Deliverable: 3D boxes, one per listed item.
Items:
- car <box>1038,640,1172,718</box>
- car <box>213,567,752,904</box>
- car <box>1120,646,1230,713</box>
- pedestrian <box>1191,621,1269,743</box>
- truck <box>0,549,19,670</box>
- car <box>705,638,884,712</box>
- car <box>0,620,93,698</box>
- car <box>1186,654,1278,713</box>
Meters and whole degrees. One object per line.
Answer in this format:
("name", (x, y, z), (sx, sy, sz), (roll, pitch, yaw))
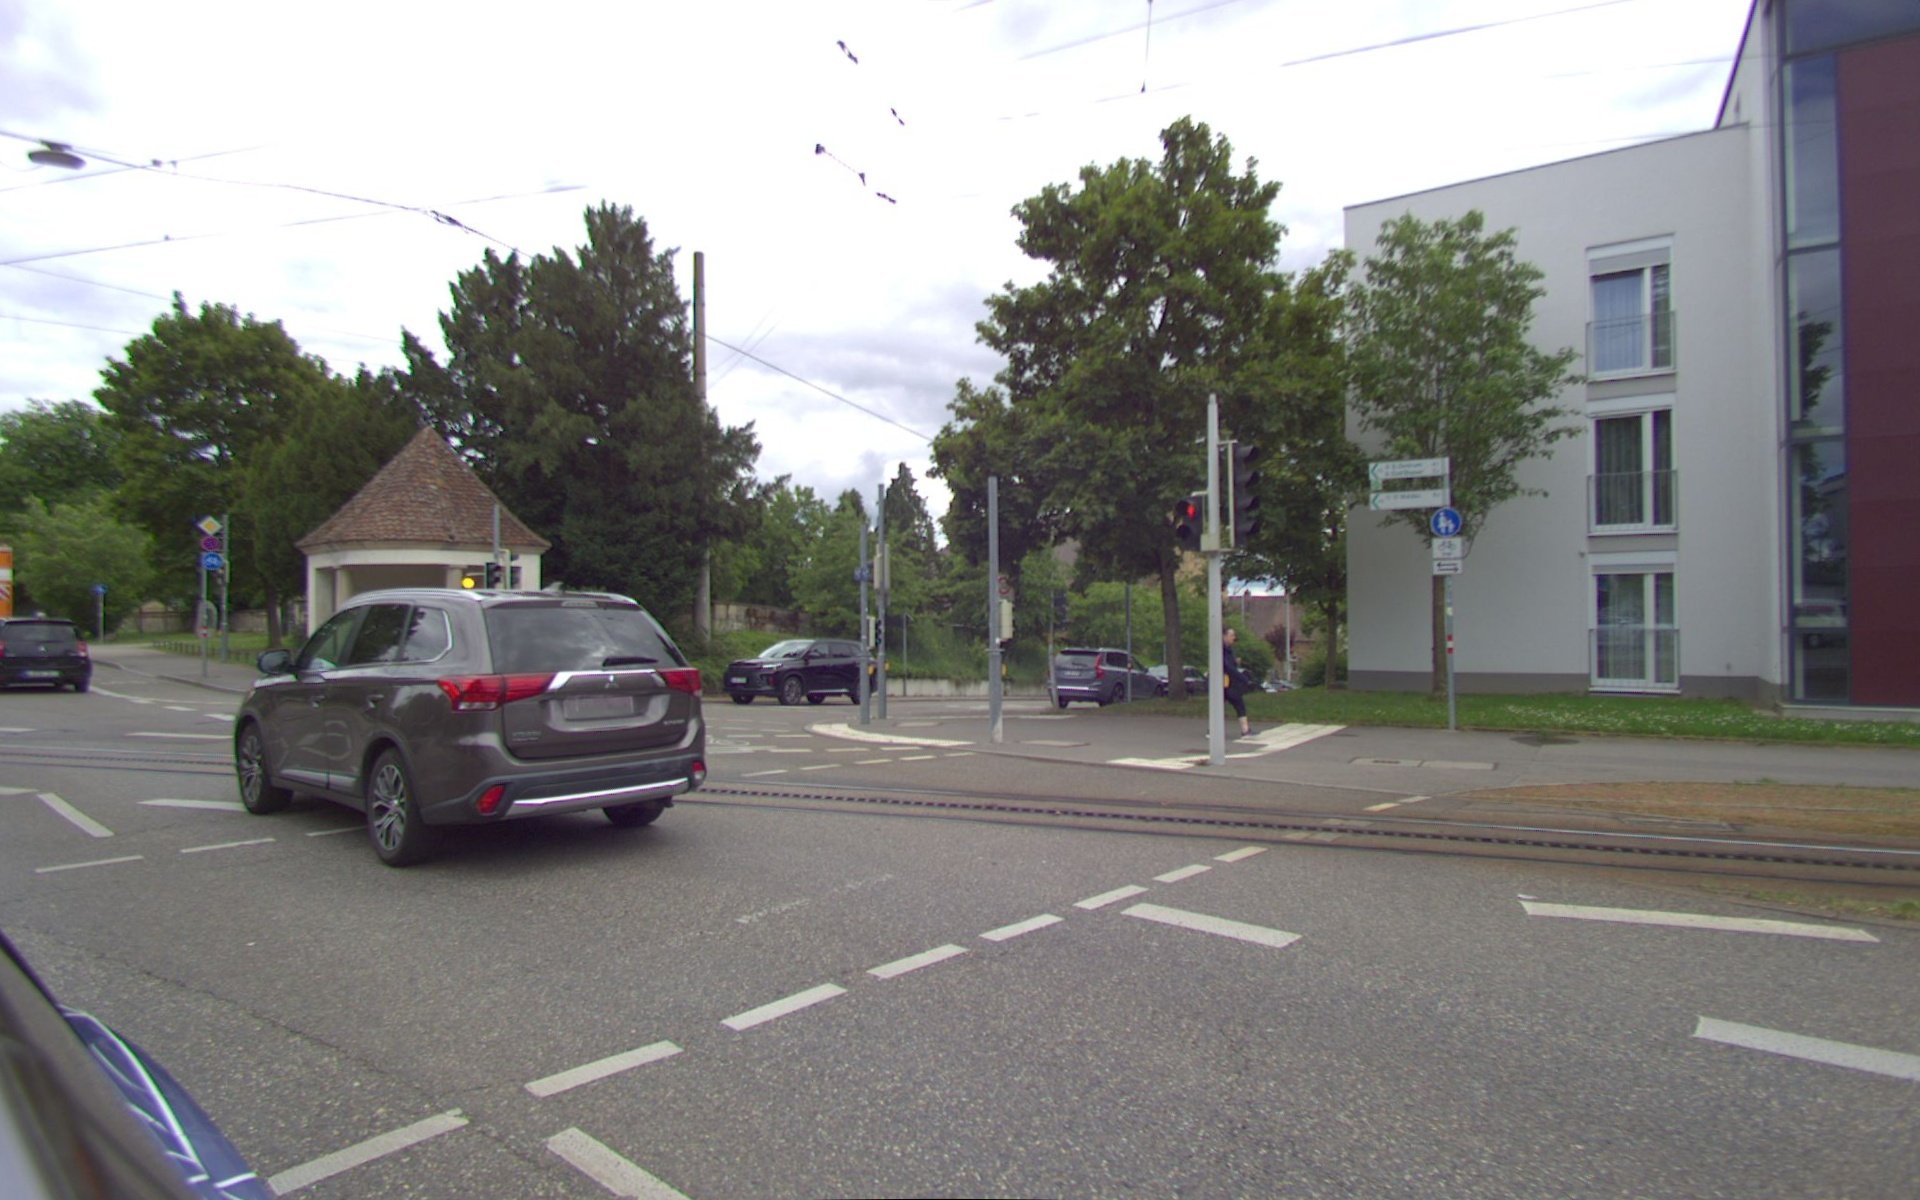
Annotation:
("car", (4.208, 2.264, 28.856), (1.995, 2.029, 4.416), (-1, -5, 35))
("car", (-3.646, 0.693, 7.288), (4.486, 1.682, 1.811), (-1, 2, 41))
("car", (7.196, 2.591, 33.549), (1.995, 2.029, 4.416), (-1, -4, 35))
("pedestrian", (3.799, 1.142, 14.238), (0.817, 1.657, 0.669), (-4, -5, 36))
("truck", (-33.662, 0.309, 33.345), (8.462, 3.747, 2.740), (-1, -4, 40))
("car", (-4.105, 1.902, 25.755), (1.961, 1.682, 4.436), (-1, -5, 34))
("car", (-19.839, 1.218, 21.393), (3.730, 1.517, 1.658), (-1, -4, 40))
("car", (10.359, 3.118, 38.286), (1.995, 2.029, 4.416), (-1, -4, 35))
